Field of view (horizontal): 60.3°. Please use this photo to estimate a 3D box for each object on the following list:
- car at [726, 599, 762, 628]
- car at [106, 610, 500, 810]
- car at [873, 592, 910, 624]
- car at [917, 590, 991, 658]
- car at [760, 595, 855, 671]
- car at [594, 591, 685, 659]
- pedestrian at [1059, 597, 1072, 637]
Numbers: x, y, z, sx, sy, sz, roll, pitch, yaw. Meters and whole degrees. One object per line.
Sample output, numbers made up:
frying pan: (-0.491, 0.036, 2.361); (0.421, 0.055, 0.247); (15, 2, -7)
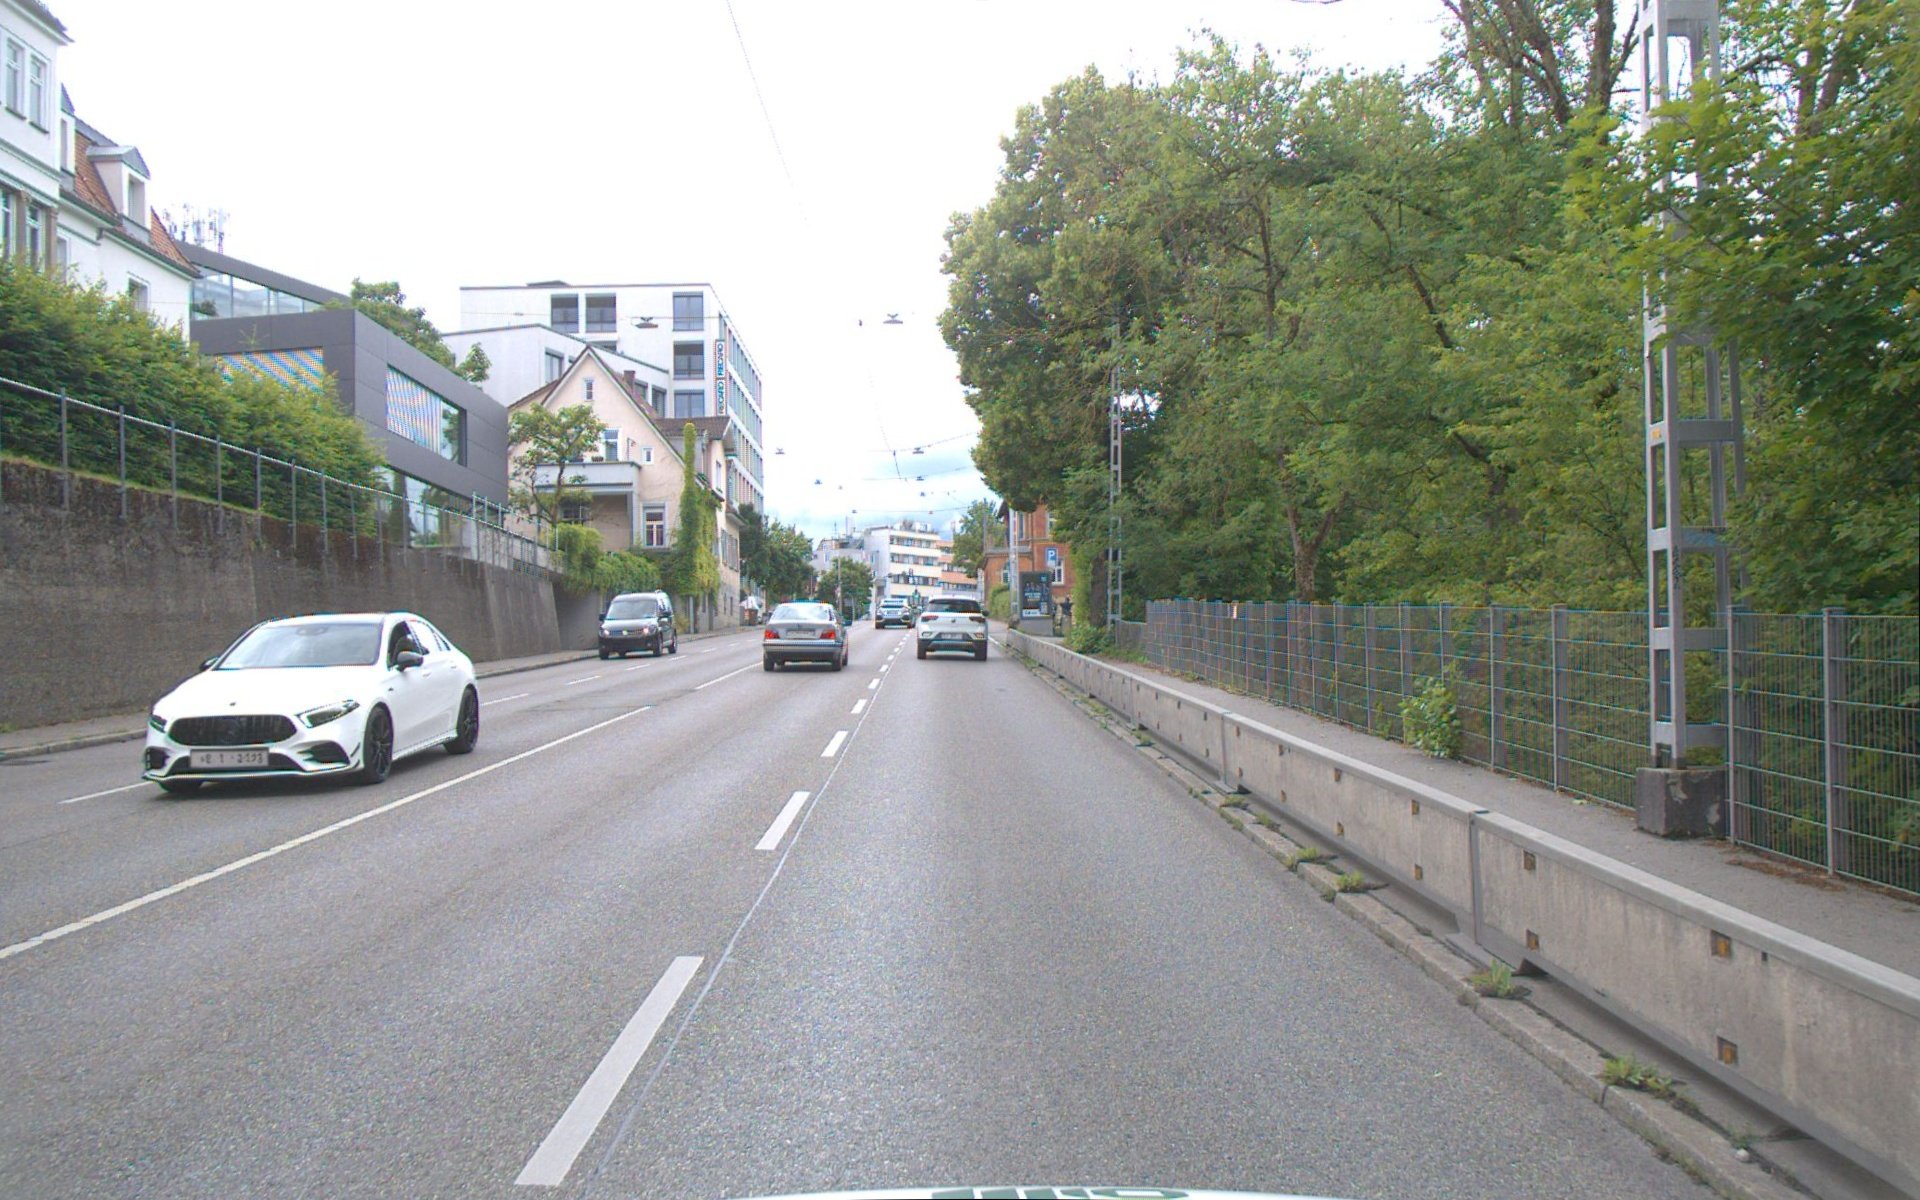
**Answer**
car: (-13.211, 0.811, 101.320); (1.954, 1.731, 3.996); (-1, 0, -5)
car: (-5.677, 0.856, 14.961); (1.779, 1.410, 4.462); (-3, 0, -1)
car: (-3.304, 0.365, 80.128); (1.672, 1.489, 3.999); (-1, 0, -1)
car: (-0.199, 0.580, 41.862); (1.744, 1.607, 3.998); (0, 0, -2)
car: (-3.177, 0.646, 35.015); (1.672, 1.489, 3.999); (-1, 0, -1)
car: (-9.210, 0.680, 47.873); (1.779, 1.815, 4.494); (-2, 0, -1)
pedestrian: (4.684, 0.744, 73.223); (0.499, 1.747, 0.465); (-1, 0, -3)
